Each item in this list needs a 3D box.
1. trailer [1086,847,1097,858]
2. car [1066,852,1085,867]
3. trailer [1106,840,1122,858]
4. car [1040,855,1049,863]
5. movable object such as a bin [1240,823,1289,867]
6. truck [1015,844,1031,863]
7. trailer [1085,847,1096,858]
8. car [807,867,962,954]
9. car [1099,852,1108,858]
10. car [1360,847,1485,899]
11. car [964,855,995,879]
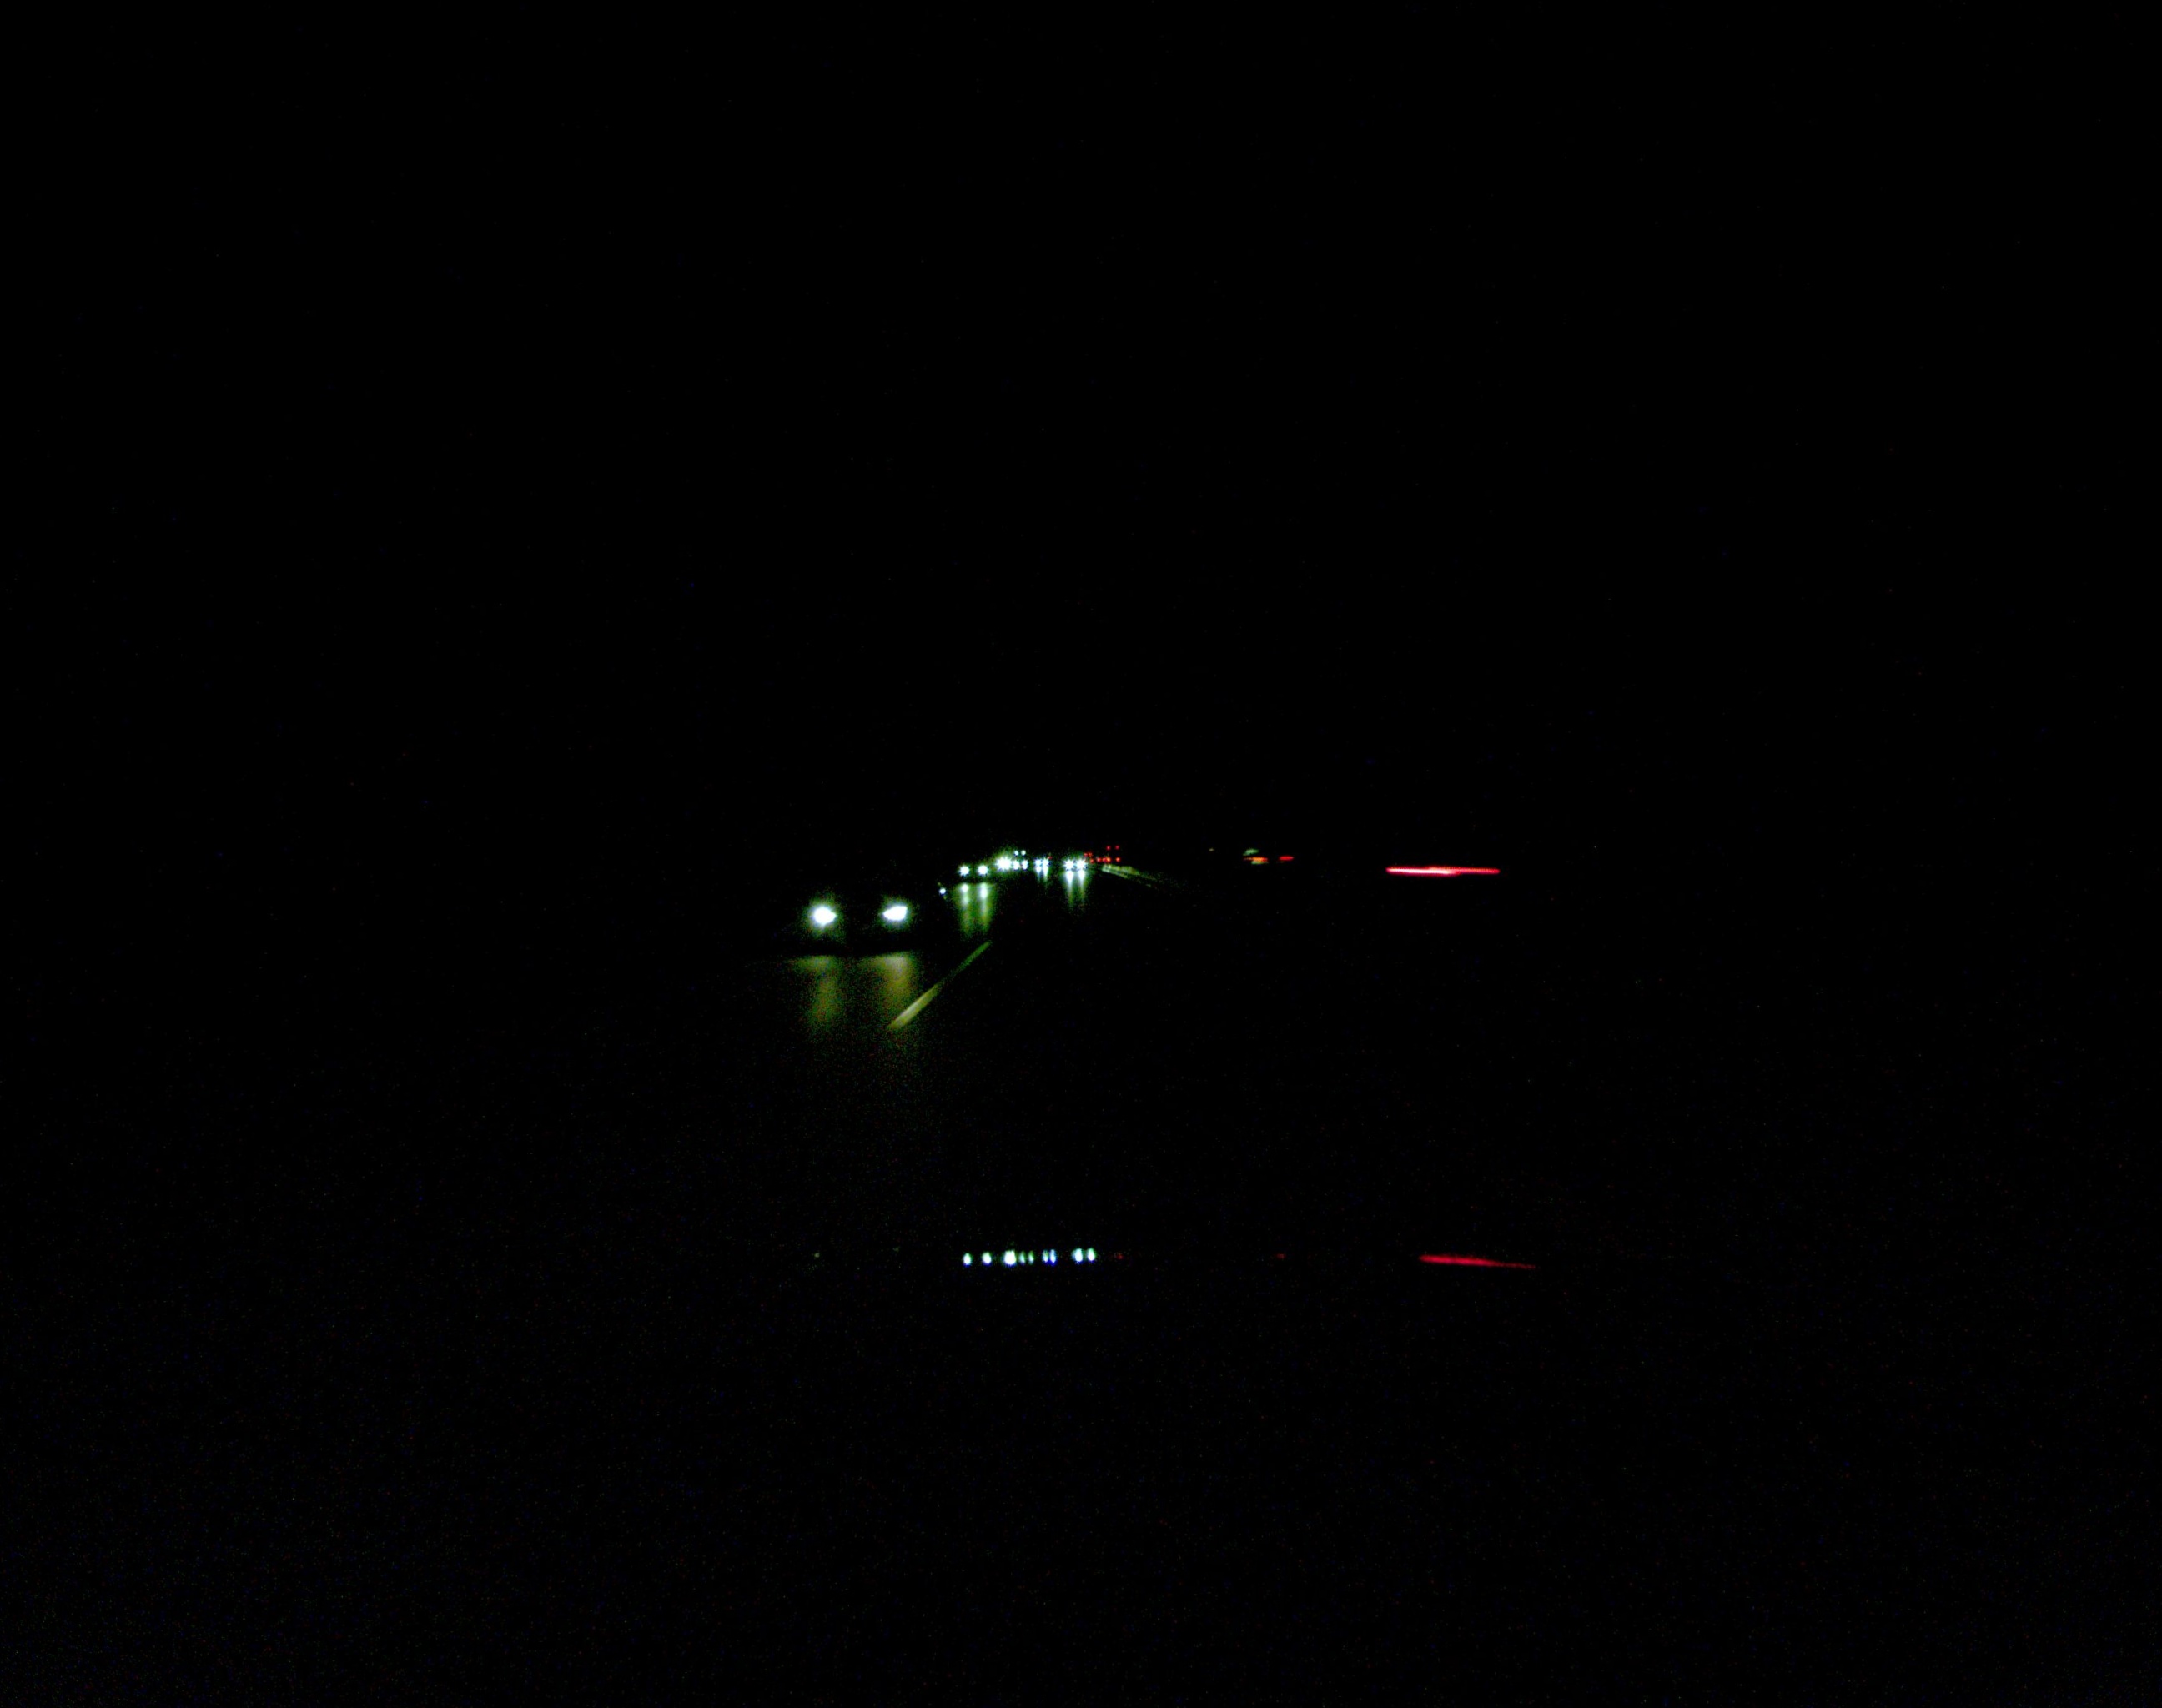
[{"bbox_3d":[3.518,-0.587,261.728,3.066,3.667,11.683,-3,0,-3],"label":"trailer"},{"bbox_3d":[-0.607,0.608,89.194,2.011,1.652,4.001,-2,0,3],"label":"car"},{"bbox_3d":[8.978,-1.365,206.055,2.860,4.407,13.976,-3,0,-3],"label":"trailer"},{"bbox_3d":[-7.758,0.998,160.792,1.940,1.608,3.999,-2,0,-3],"label":"car"},{"bbox_3d":[15.226,-0.734,63.515,2.213,3.397,7.436,-2,0,0],"label":"movable object such as a bin"},{"bbox_3d":[-14.224,-0.030,185.129,3.348,4.407,6.989,-3,0,-7],"label":"truck"},{"bbox_3d":[3.300,-0.592,267.525,3.066,3.667,7.227,-3,0,-3],"label":"trailer"},{"bbox_3d":[-3.888,1.050,16.053,1.839,1.393,5.069,-2,0,1],"label":"car"},{"bbox_3d":[5.659,0.298,191.833,1.818,1.444,4.132,-2,0,-3],"label":"car"},{"bbox_3d":[10.758,0.556,24.339,1.938,1.444,4.453,-2,0,0],"label":"car"},{"bbox_3d":[-7.729,0.970,58.272,1.999,1.707,5.166,-2,0,-4],"label":"car"}]
